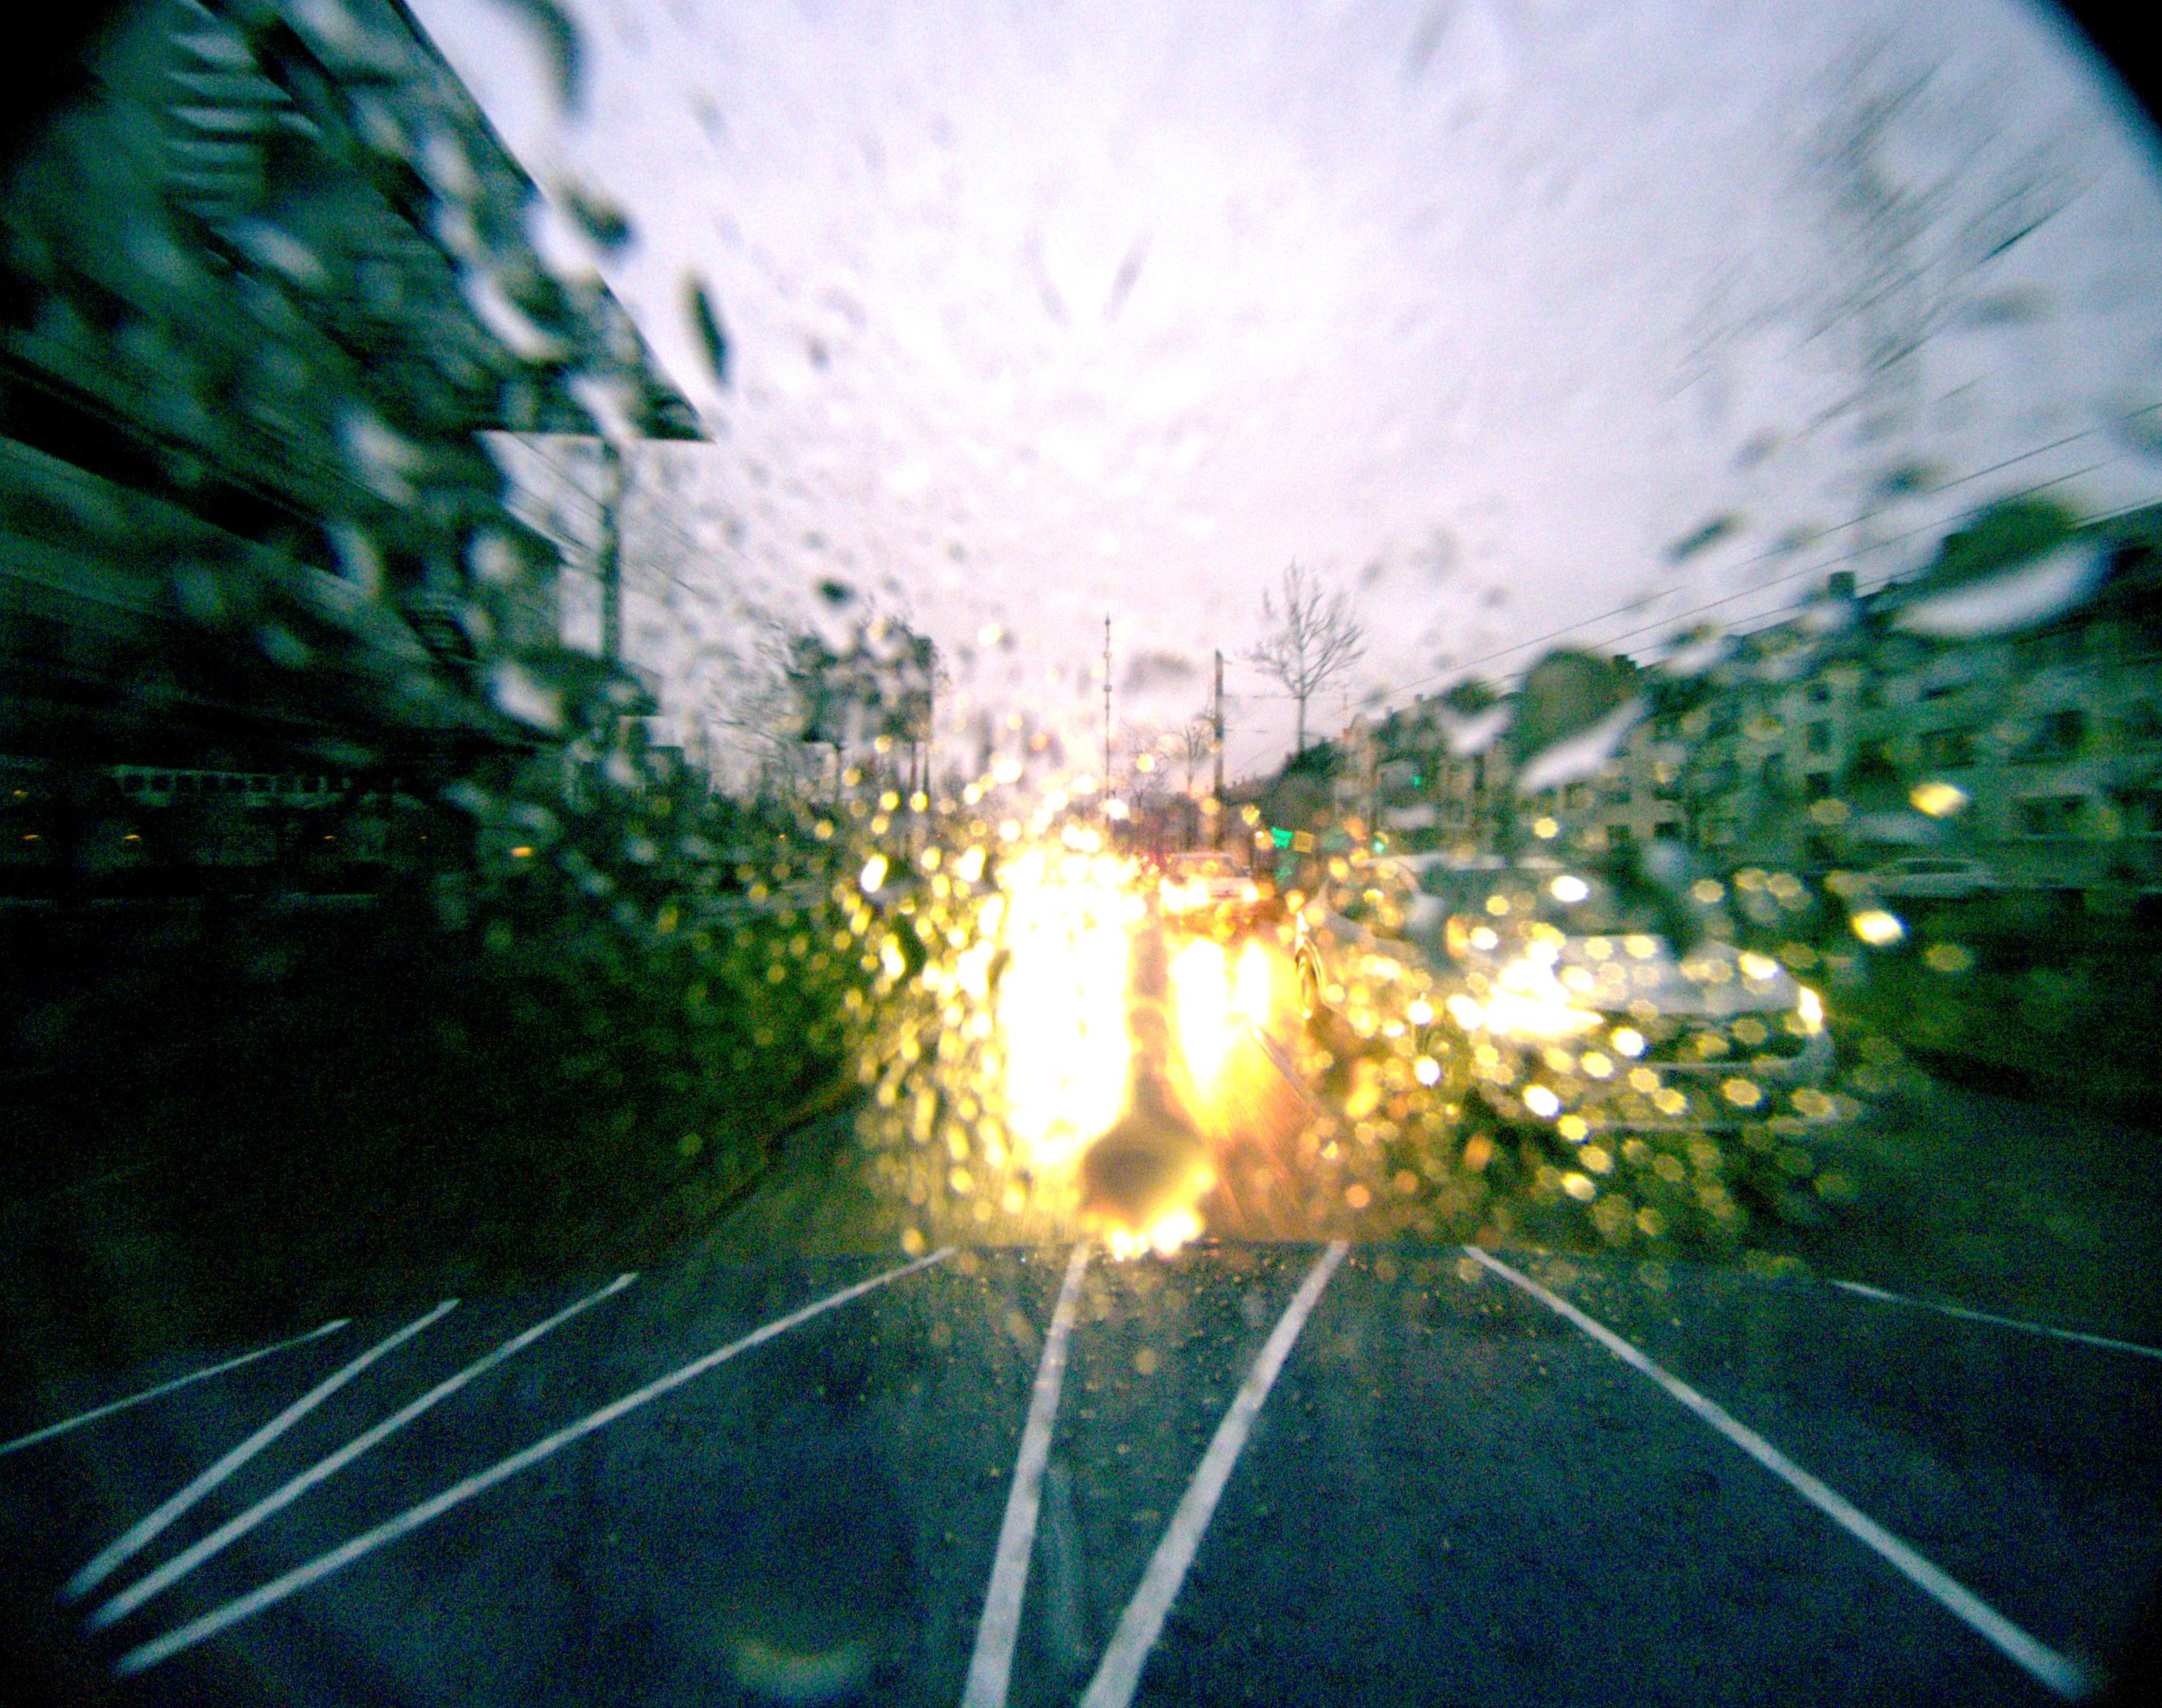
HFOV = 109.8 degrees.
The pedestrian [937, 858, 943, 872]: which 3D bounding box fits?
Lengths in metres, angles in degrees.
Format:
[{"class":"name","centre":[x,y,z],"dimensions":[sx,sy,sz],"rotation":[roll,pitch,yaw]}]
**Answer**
[{"class":"pedestrian","centre":[-17.277,1.315,93.102],"dimensions":[0.669,1.645,0.993],"rotation":[0,1,-10]}]

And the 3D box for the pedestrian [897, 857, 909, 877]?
[{"class":"pedestrian","centre":[-14.746,1.100,62.922],"dimensions":[0.674,1.602,0.615],"rotation":[-2,0,9]}]

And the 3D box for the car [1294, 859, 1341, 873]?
[{"class":"car","centre":[23.667,1.218,76.127],"dimensions":[4.095,1.154,1.715],"rotation":[-4,1,34]}]

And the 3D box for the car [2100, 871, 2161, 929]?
[{"class":"car","centre":[27.705,1.110,18.608],"dimensions":[2.929,1.328,1.741],"rotation":[-2,0,40]}]

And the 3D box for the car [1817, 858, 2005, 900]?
[{"class":"car","centre":[27.275,0.832,25.172],"dimensions":[3.834,1.238,1.741],"rotation":[-2,0,30]}]

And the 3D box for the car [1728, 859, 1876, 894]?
[{"class":"car","centre":[26.626,0.835,28.260],"dimensions":[3.811,1.165,1.741],"rotation":[-3,0,37]}]

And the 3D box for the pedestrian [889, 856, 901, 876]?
[{"class":"pedestrian","centre":[-14.913,0.959,60.779],"dimensions":[0.674,1.615,0.615],"rotation":[-2,0,10]}]

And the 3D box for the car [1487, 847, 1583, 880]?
[{"class":"car","centre":[26.216,0.567,44.031],"dimensions":[4.647,1.713,1.836],"rotation":[-2,0,29]}]

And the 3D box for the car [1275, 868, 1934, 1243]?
[{"class":"car","centre":[2.741,0.891,5.221],"dimensions":[1.693,1.465,4.001],"rotation":[-2,0,-1]}]

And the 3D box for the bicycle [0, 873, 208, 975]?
[{"class":"bicycle","centre":[-13.766,0.941,10.772],"dimensions":[0.411,1.277,1.747],"rotation":[-2,0,22]}]

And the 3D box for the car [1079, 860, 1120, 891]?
[{"class":"car","centre":[0.959,1.126,41.096],"dimensions":[1.906,1.475,3.654],"rotation":[-2,0,-3]}]

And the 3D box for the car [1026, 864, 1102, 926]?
[{"class":"car","centre":[-0.526,0.966,19.435],"dimensions":[1.670,1.325,3.785],"rotation":[-2,0,-5]}]

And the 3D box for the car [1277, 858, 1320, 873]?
[{"class":"car","centre":[22.776,1.201,79.516],"dimensions":[4.034,1.223,1.350],"rotation":[-4,1,31]}]

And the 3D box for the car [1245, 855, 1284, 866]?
[{"class":"car","centre":[22.933,0.861,94.974],"dimensions":[4.254,1.250,1.837],"rotation":[-2,0,36]}]

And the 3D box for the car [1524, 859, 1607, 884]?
[{"class":"car","centre":[25.789,0.934,40.544],"dimensions":[3.563,1.134,1.740],"rotation":[-2,0,27]}]

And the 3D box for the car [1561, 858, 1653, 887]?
[{"class":"car","centre":[26.197,0.921,37.986],"dimensions":[3.572,1.301,1.689],"rotation":[-2,0,27]}]

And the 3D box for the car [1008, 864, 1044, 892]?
[{"class":"car","centre":[-2.946,1.247,40.131],"dimensions":[1.737,1.311,3.802],"rotation":[-2,0,-5]}]

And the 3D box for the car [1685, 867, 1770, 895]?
[{"class":"car","centre":[26.668,1.113,31.439],"dimensions":[2.386,1.042,1.439],"rotation":[-2,-1,27]}]

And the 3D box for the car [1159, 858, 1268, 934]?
[{"class":"car","centre":[2.957,0.891,17.760],"dimensions":[1.638,1.510,3.906],"rotation":[-2,0,-3]}]

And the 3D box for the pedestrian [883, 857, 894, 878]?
[{"class":"pedestrian","centre":[-16.159,1.133,63.682],"dimensions":[0.674,1.767,0.615],"rotation":[-2,0,9]}]
